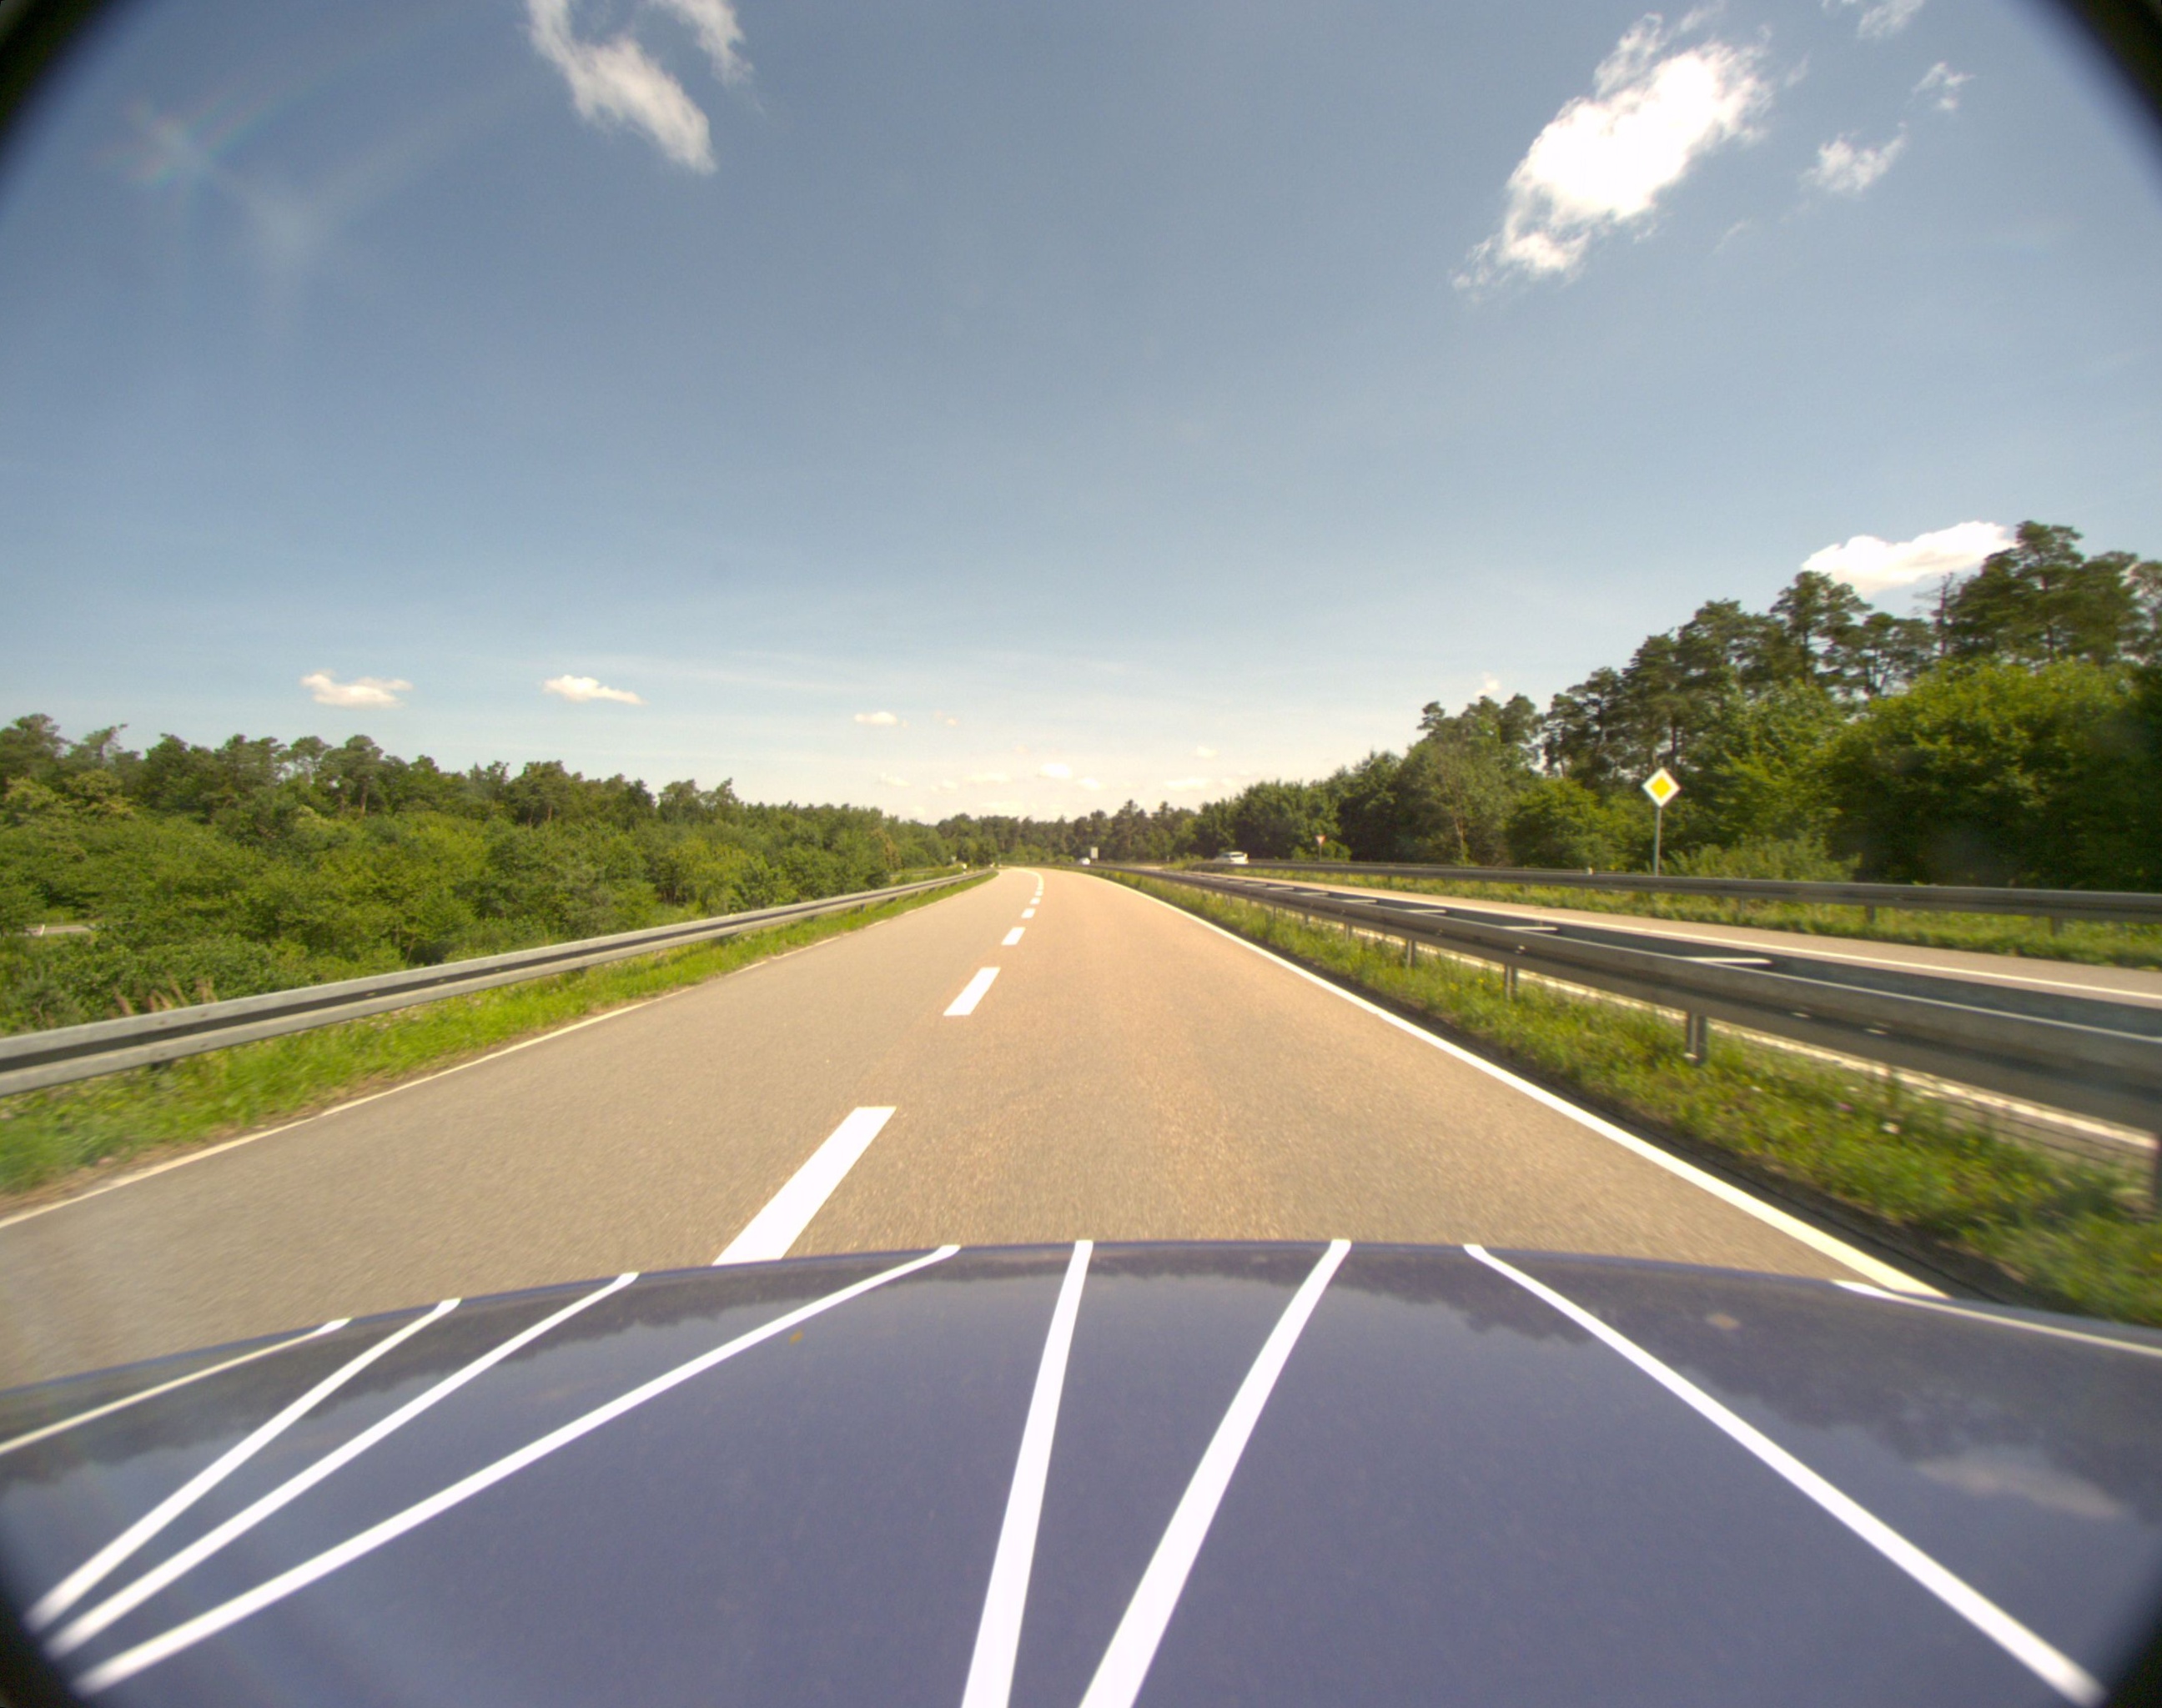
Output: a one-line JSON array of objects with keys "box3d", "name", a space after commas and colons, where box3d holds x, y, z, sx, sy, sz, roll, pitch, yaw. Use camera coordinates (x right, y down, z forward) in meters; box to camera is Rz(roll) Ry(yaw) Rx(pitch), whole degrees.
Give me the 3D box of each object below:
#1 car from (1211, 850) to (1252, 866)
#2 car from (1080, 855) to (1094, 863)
[{"box3d": [13.621, 0.340, 69.063, 1.954, 1.405, 4.829, -1, 0, -10], "name": "car"}, {"box3d": [1.097, 0.925, 136.421, 1.684, 1.419, 4.208, -2, 0, -10], "name": "car"}]
